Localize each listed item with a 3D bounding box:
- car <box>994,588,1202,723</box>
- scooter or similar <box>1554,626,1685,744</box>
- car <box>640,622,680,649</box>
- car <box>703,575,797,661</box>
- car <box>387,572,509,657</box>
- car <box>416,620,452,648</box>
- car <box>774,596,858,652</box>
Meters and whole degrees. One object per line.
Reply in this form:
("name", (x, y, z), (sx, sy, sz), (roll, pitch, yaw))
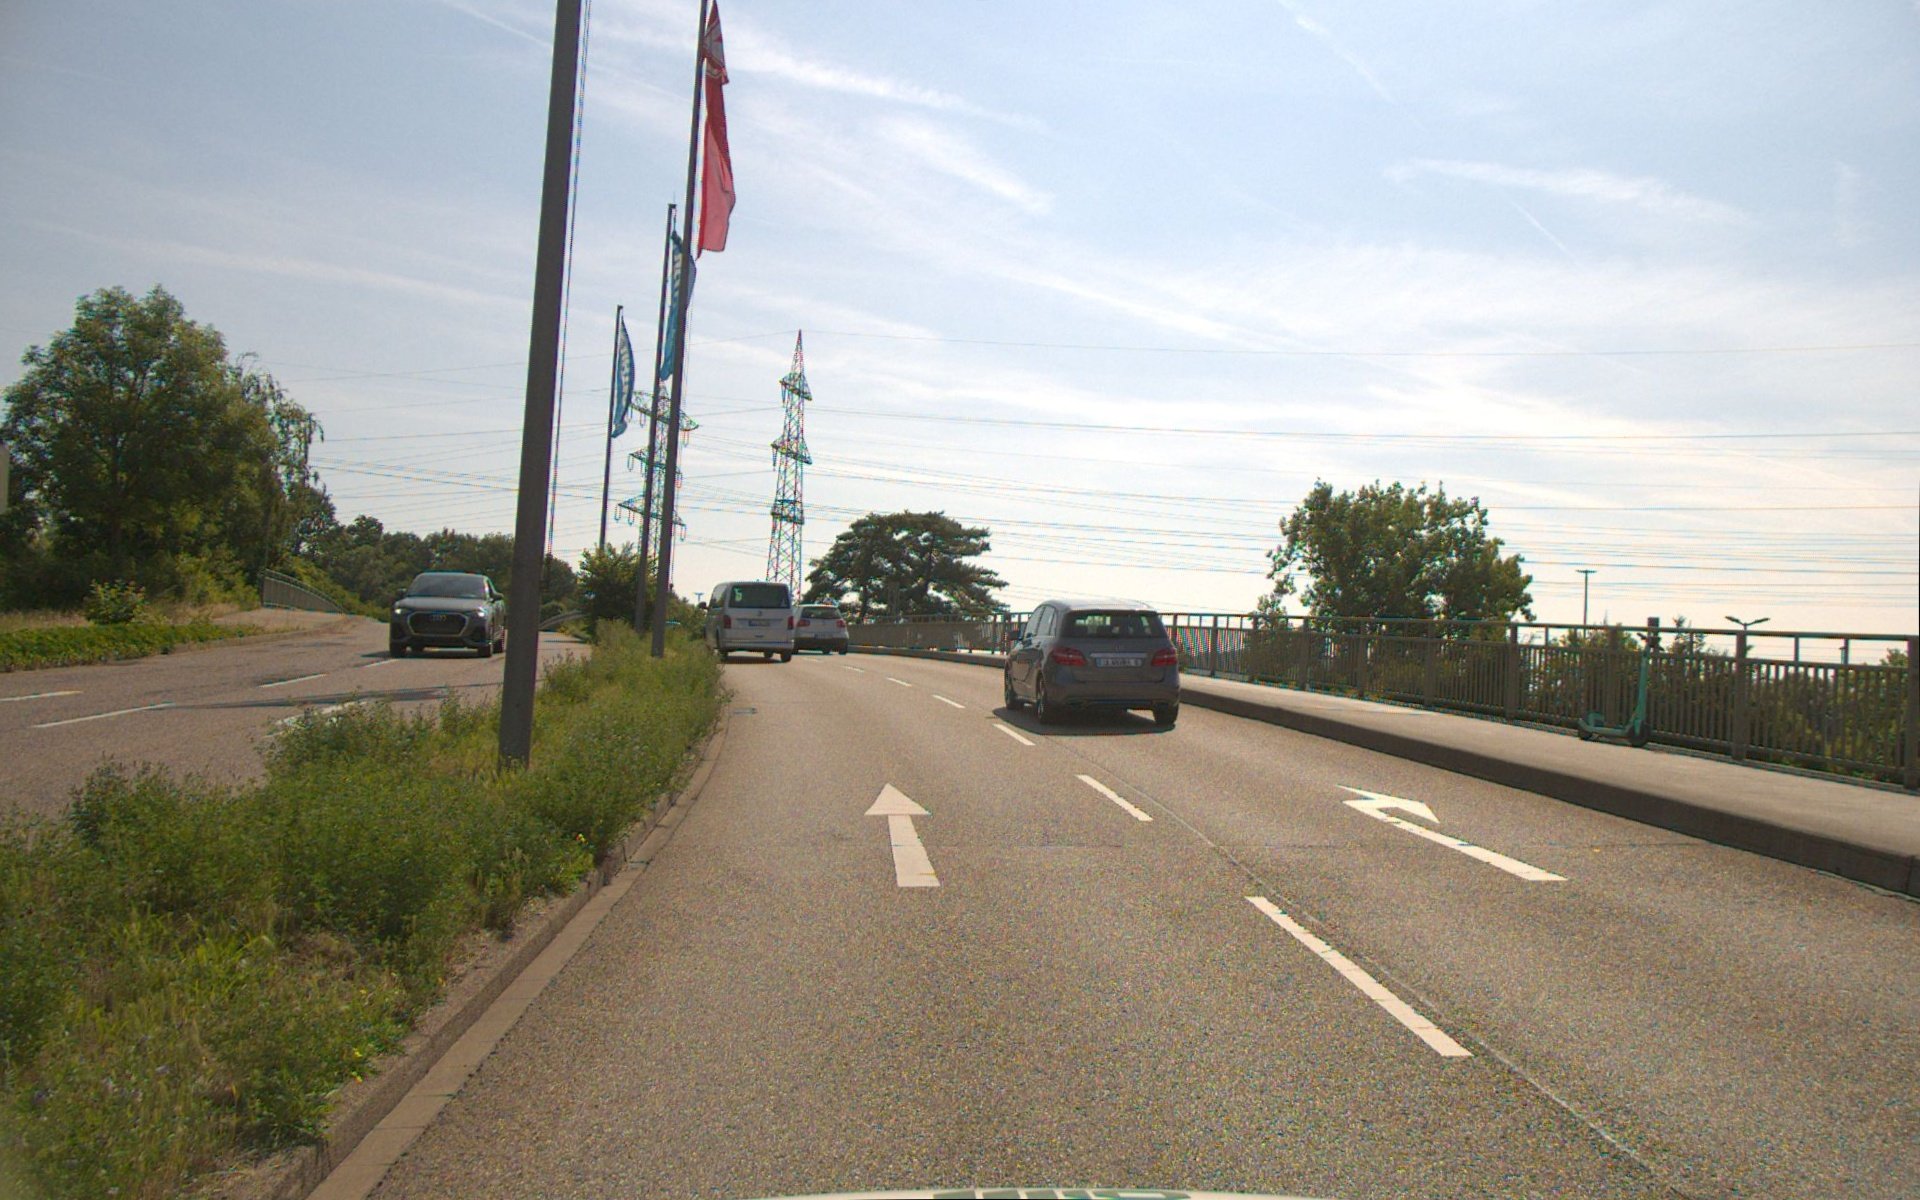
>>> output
("car", (1.717, 0.716, 21.992), (1.822, 1.556, 4.135), (2, -2, -8))
("scooter or similar", (7.027, 0.885, 17.684), (0.502, 1.162, 1.476), (3, -1, -13))
("car", (-16.194, 1.904, 89.128), (1.744, 1.355, 3.725), (3, -2, -15))
("car", (-5.348, 0.423, 41.819), (2.004, 2.049, 3.987), (-1, 0, -12))
("car", (-9.734, 0.232, 31.706), (1.752, 1.511, 4.248), (1, 1, -11))
("car", (-30.701, 1.982, 96.548), (1.767, 1.578, 3.984), (2, -1, -15))
("car", (-4.462, 0.706, 50.856), (1.826, 1.556, 4.127), (3, 0, -15))
